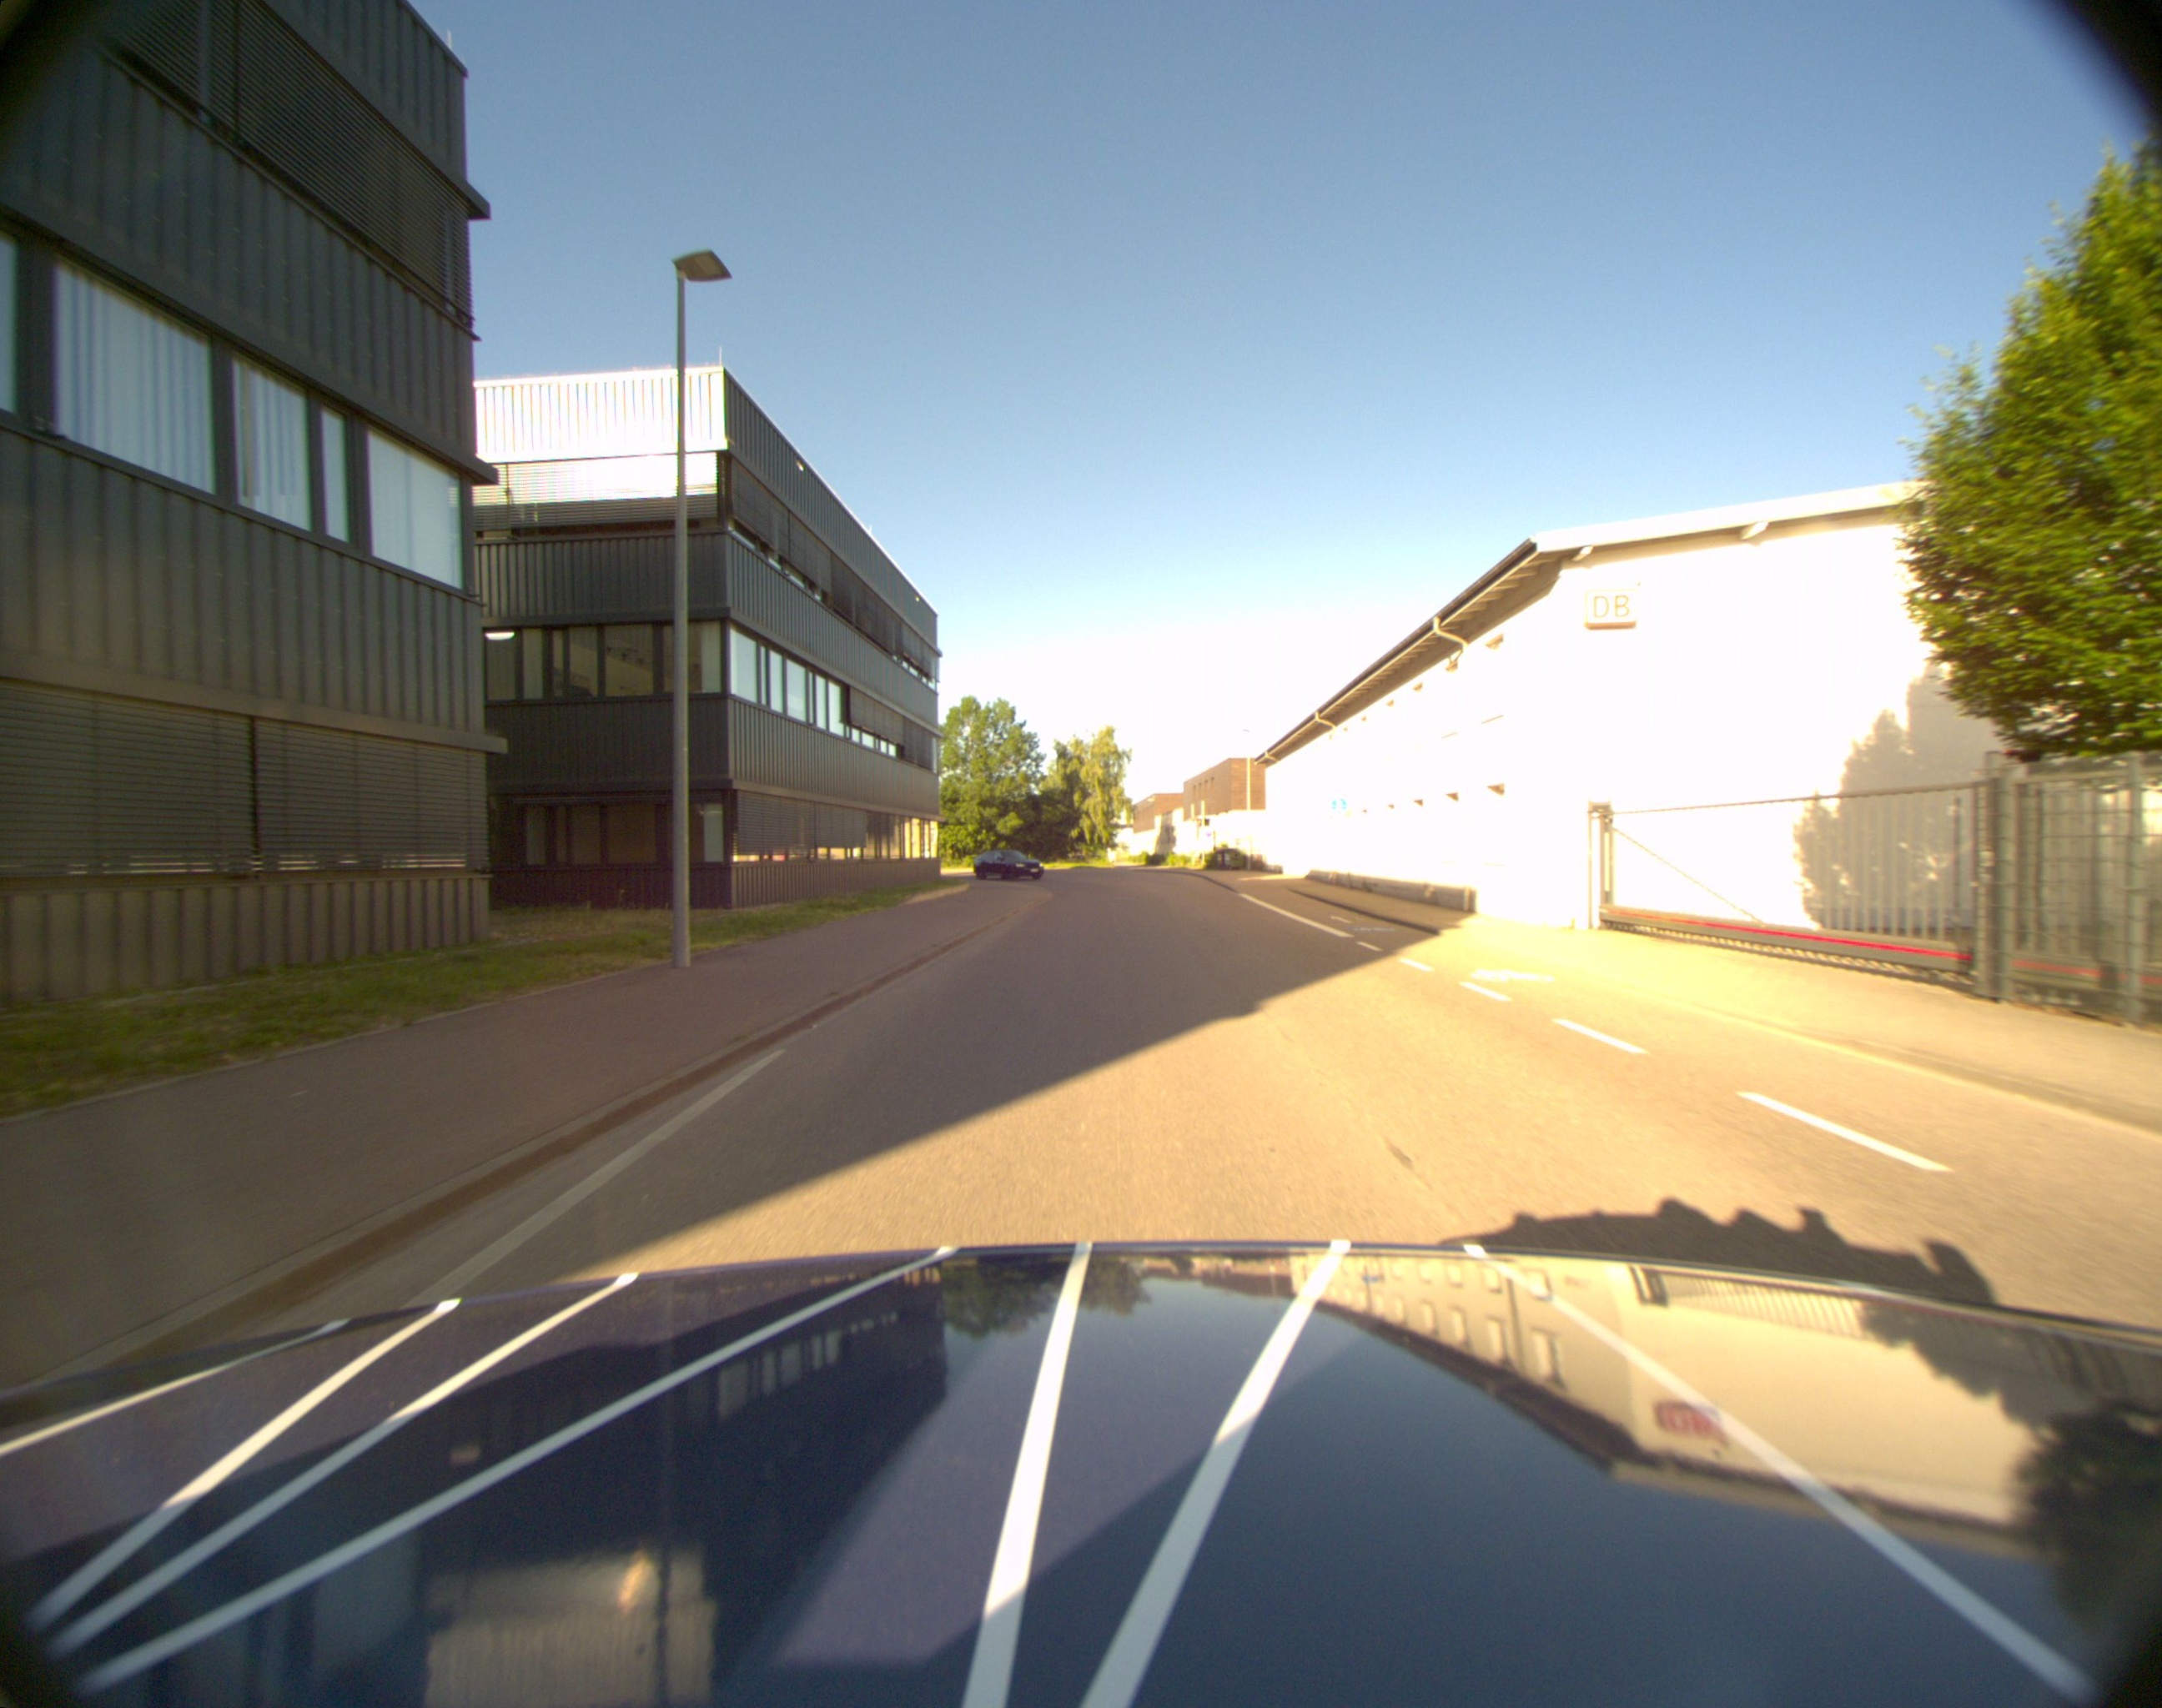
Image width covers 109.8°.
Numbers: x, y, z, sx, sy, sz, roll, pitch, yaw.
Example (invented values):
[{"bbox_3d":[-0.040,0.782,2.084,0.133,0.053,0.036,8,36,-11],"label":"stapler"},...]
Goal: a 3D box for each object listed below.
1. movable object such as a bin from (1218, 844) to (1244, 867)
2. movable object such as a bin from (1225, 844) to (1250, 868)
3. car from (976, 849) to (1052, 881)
[{"bbox_3d":[9.844,0.102,49.992,1.364,1.463,1.288,-1,1,-7],"label":"movable object such as a bin"},{"bbox_3d":[10.014,0.115,48.618,1.202,1.463,1.372,-1,1,-7],"label":"movable object such as a bin"},{"bbox_3d":[-3.862,0.580,43.197,2.042,1.624,4.600,-2,2,-38],"label":"car"}]
